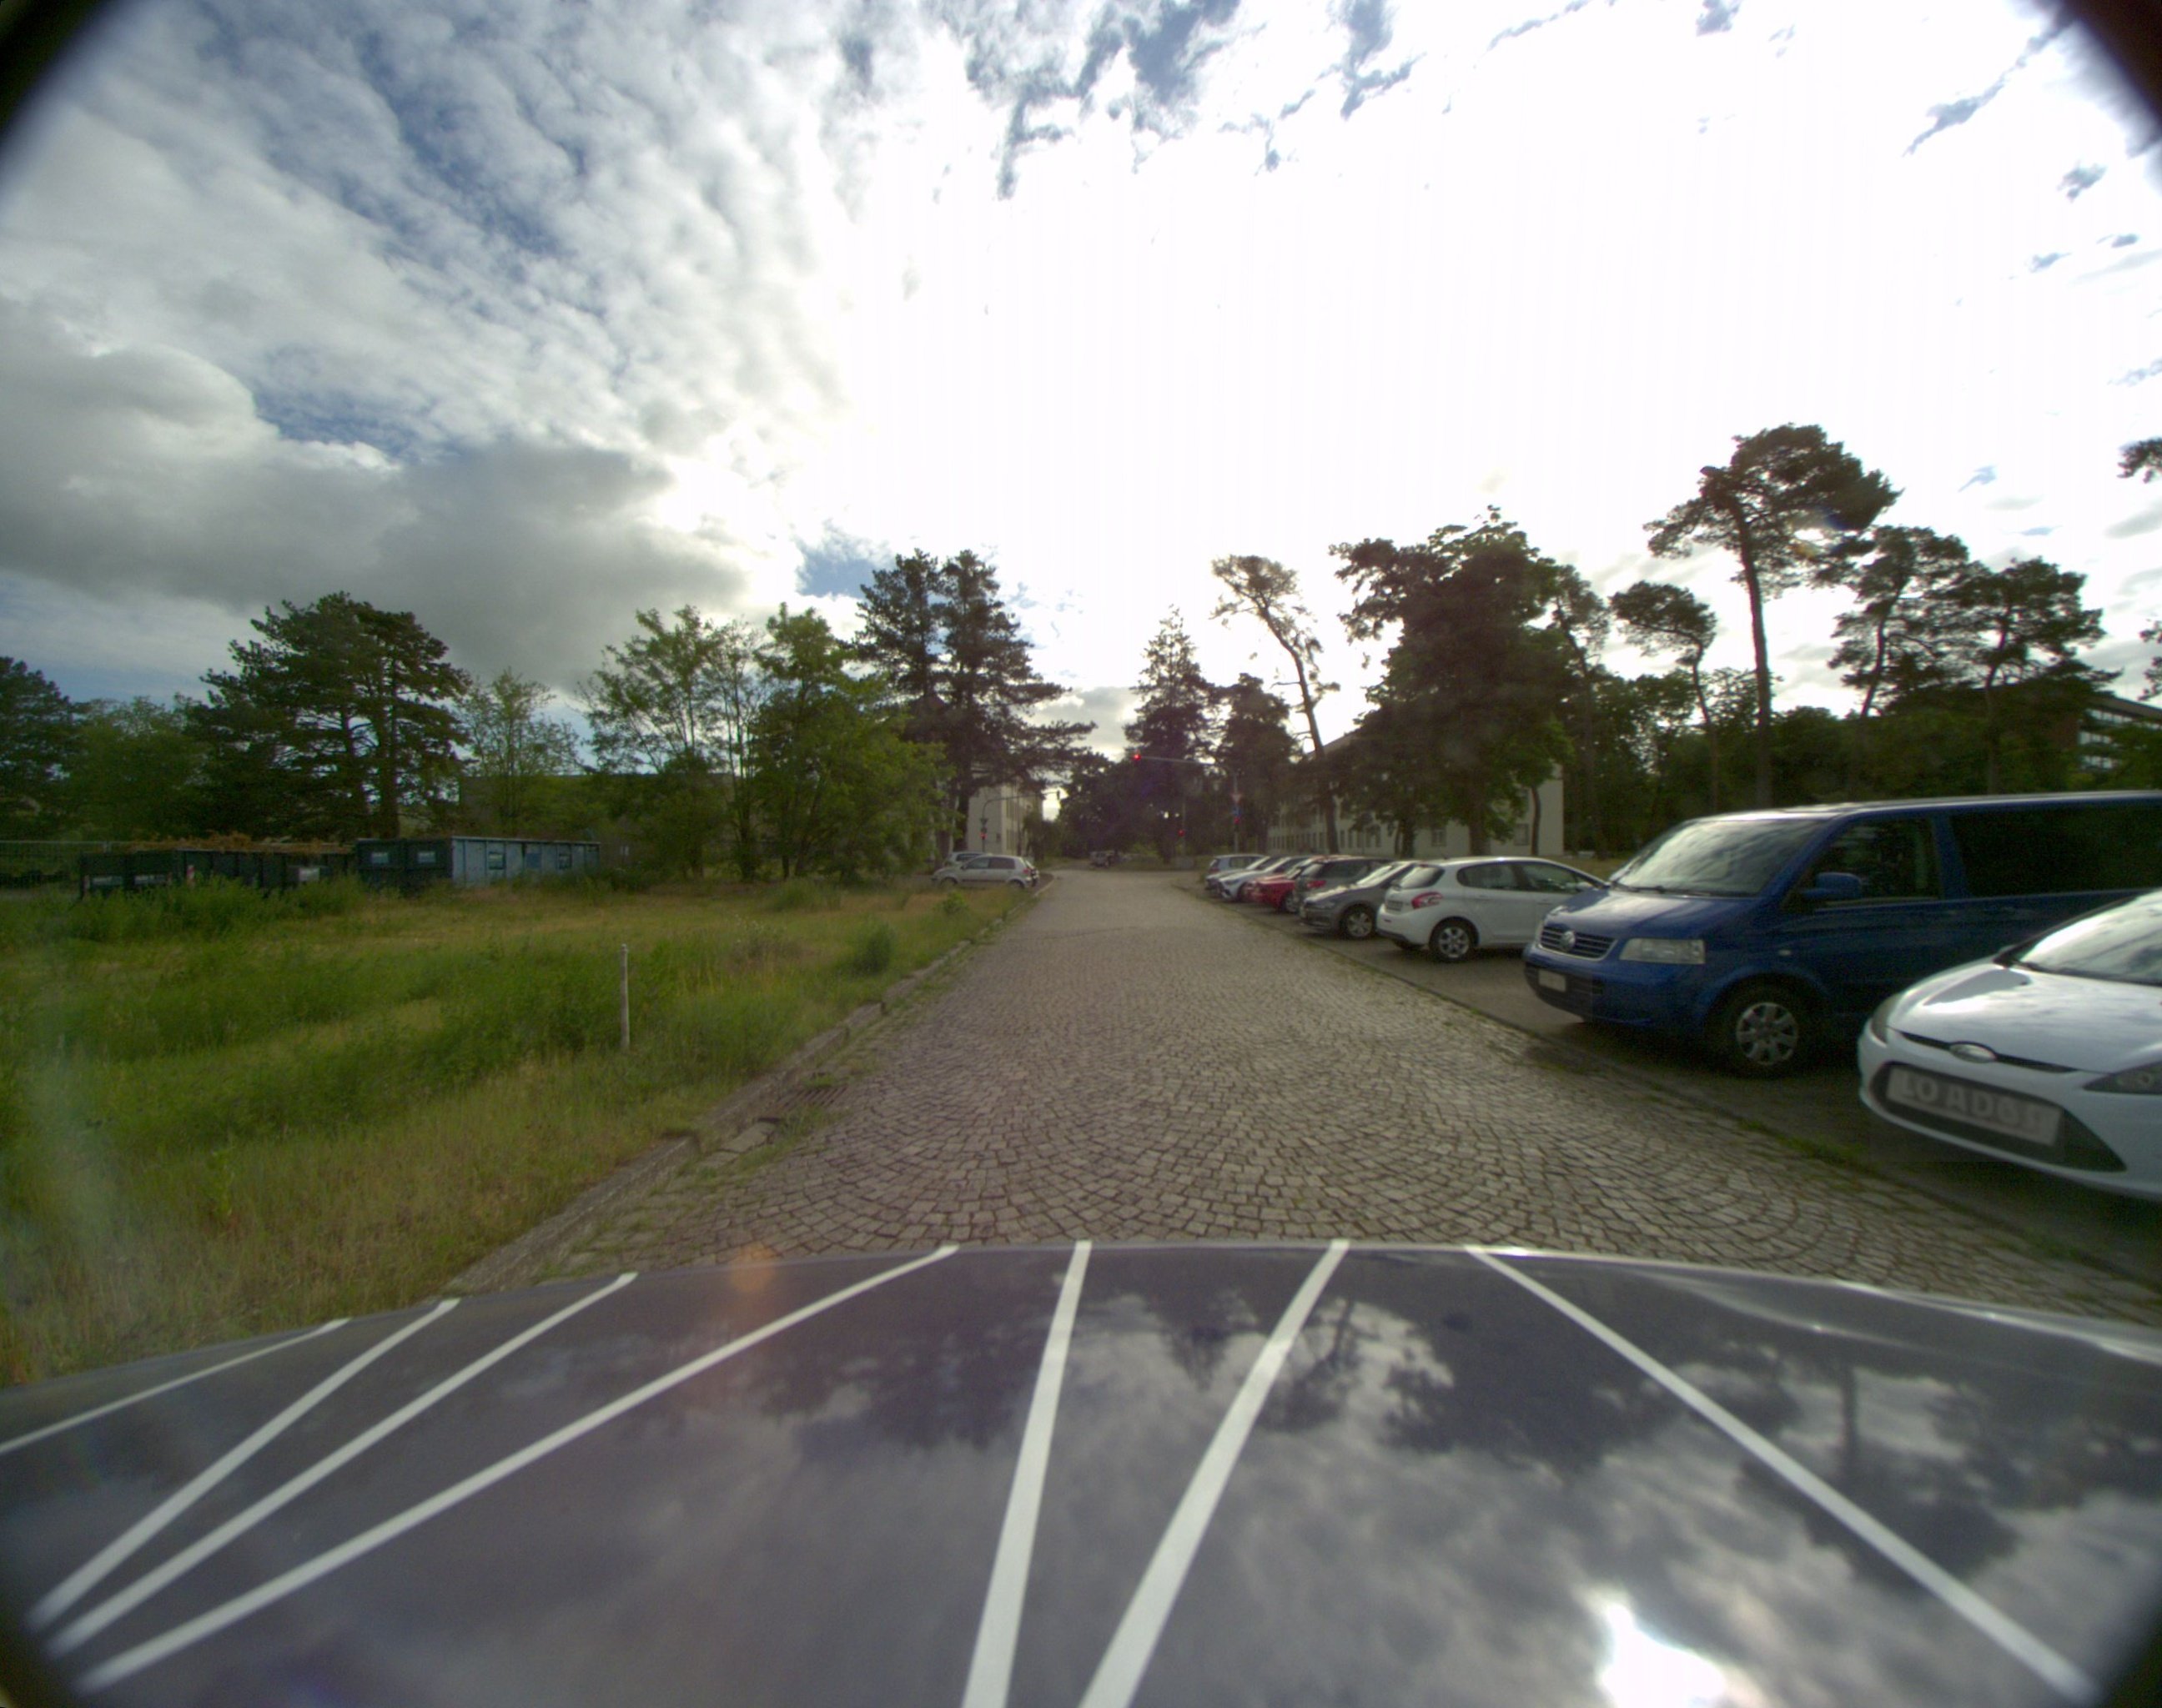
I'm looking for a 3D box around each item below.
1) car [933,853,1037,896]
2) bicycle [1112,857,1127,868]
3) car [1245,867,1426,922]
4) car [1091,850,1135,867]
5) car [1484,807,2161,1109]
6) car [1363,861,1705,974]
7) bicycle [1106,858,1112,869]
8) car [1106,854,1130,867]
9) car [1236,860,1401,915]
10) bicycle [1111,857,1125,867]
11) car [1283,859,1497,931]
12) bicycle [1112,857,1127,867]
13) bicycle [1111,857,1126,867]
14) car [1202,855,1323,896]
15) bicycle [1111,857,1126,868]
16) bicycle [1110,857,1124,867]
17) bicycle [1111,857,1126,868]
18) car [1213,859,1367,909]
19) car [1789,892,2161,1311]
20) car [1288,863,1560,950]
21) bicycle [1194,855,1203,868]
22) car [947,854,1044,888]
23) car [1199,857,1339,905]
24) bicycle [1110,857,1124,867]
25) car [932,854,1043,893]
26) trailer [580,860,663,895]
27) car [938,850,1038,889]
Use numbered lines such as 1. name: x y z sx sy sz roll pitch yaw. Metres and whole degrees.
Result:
1. car: -3.618 0.765 29.145 3.782 1.471 1.743 2 -1 -2
2. bicycle: 4.095 0.869 80.487 1.457 1.033 0.497 -3 1 -4
3. car: 6.538 1.022 19.829 4.141 1.276 1.764 -1 0 1
4. car: 4.021 0.527 96.766 5.172 1.905 2.034 -3 0 -13
5. car: 6.144 0.690 6.100 4.721 1.969 2.038 -1 0 0
6. car: 6.572 0.892 11.395 4.014 1.493 1.843 -1 0 3
7. bicycle: 2.831 0.915 75.677 0.497 1.068 1.416 -3 1 0
8. car: 4.544 0.756 93.422 2.771 1.407 1.592 -3 0 0
9. car: 6.834 0.943 22.206 4.264 1.447 1.855 -1 0 1
10. bicycle: 4.035 0.841 83.846 1.457 1.033 0.497 -3 1 -4
11. car: 6.839 0.885 17.140 4.097 1.472 1.755 -1 0 2
12. bicycle: 4.075 0.859 81.071 1.457 1.033 0.497 -3 1 -4
13. bicycle: 4.016 0.841 81.763 1.457 1.033 0.497 -3 1 -4
14. car: 7.040 0.829 29.825 4.339 1.462 1.827 -1 1 2
15. bicycle: 3.877 0.858 78.659 1.457 1.033 0.497 -3 1 -7
16. bicycle: 4.015 0.853 85.370 1.457 1.033 0.497 -3 1 -4
17. bicycle: 3.951 0.868 79.454 1.457 1.033 0.497 -3 1 -4
18. car: 6.638 0.932 24.520 4.447 1.447 1.949 -1 1 2
19. car: 5.982 0.963 3.537 3.803 1.484 1.726 -1 0 -1
20. car: 6.277 0.940 14.267 4.314 1.472 1.731 -1 0 2
21. bicycle: 10.266 0.657 66.250 0.497 1.068 1.416 -3 1 -2
22. car: -4.111 0.813 37.120 4.562 1.417 1.826 2 1 -2
23. car: 6.649 0.935 27.206 4.513 1.528 1.870 -1 1 -2
24. bicycle: 4.063 0.850 84.895 1.457 1.033 0.497 -3 1 -4
25. car: -3.843 0.813 31.851 4.377 1.397 1.796 2 -1 -1
26. trailer: -17.014 0.854 28.184 2.318 1.163 1.143 -1 1 0
27. car: -4.164 0.686 34.542 4.342 1.565 1.826 2 1 -4
